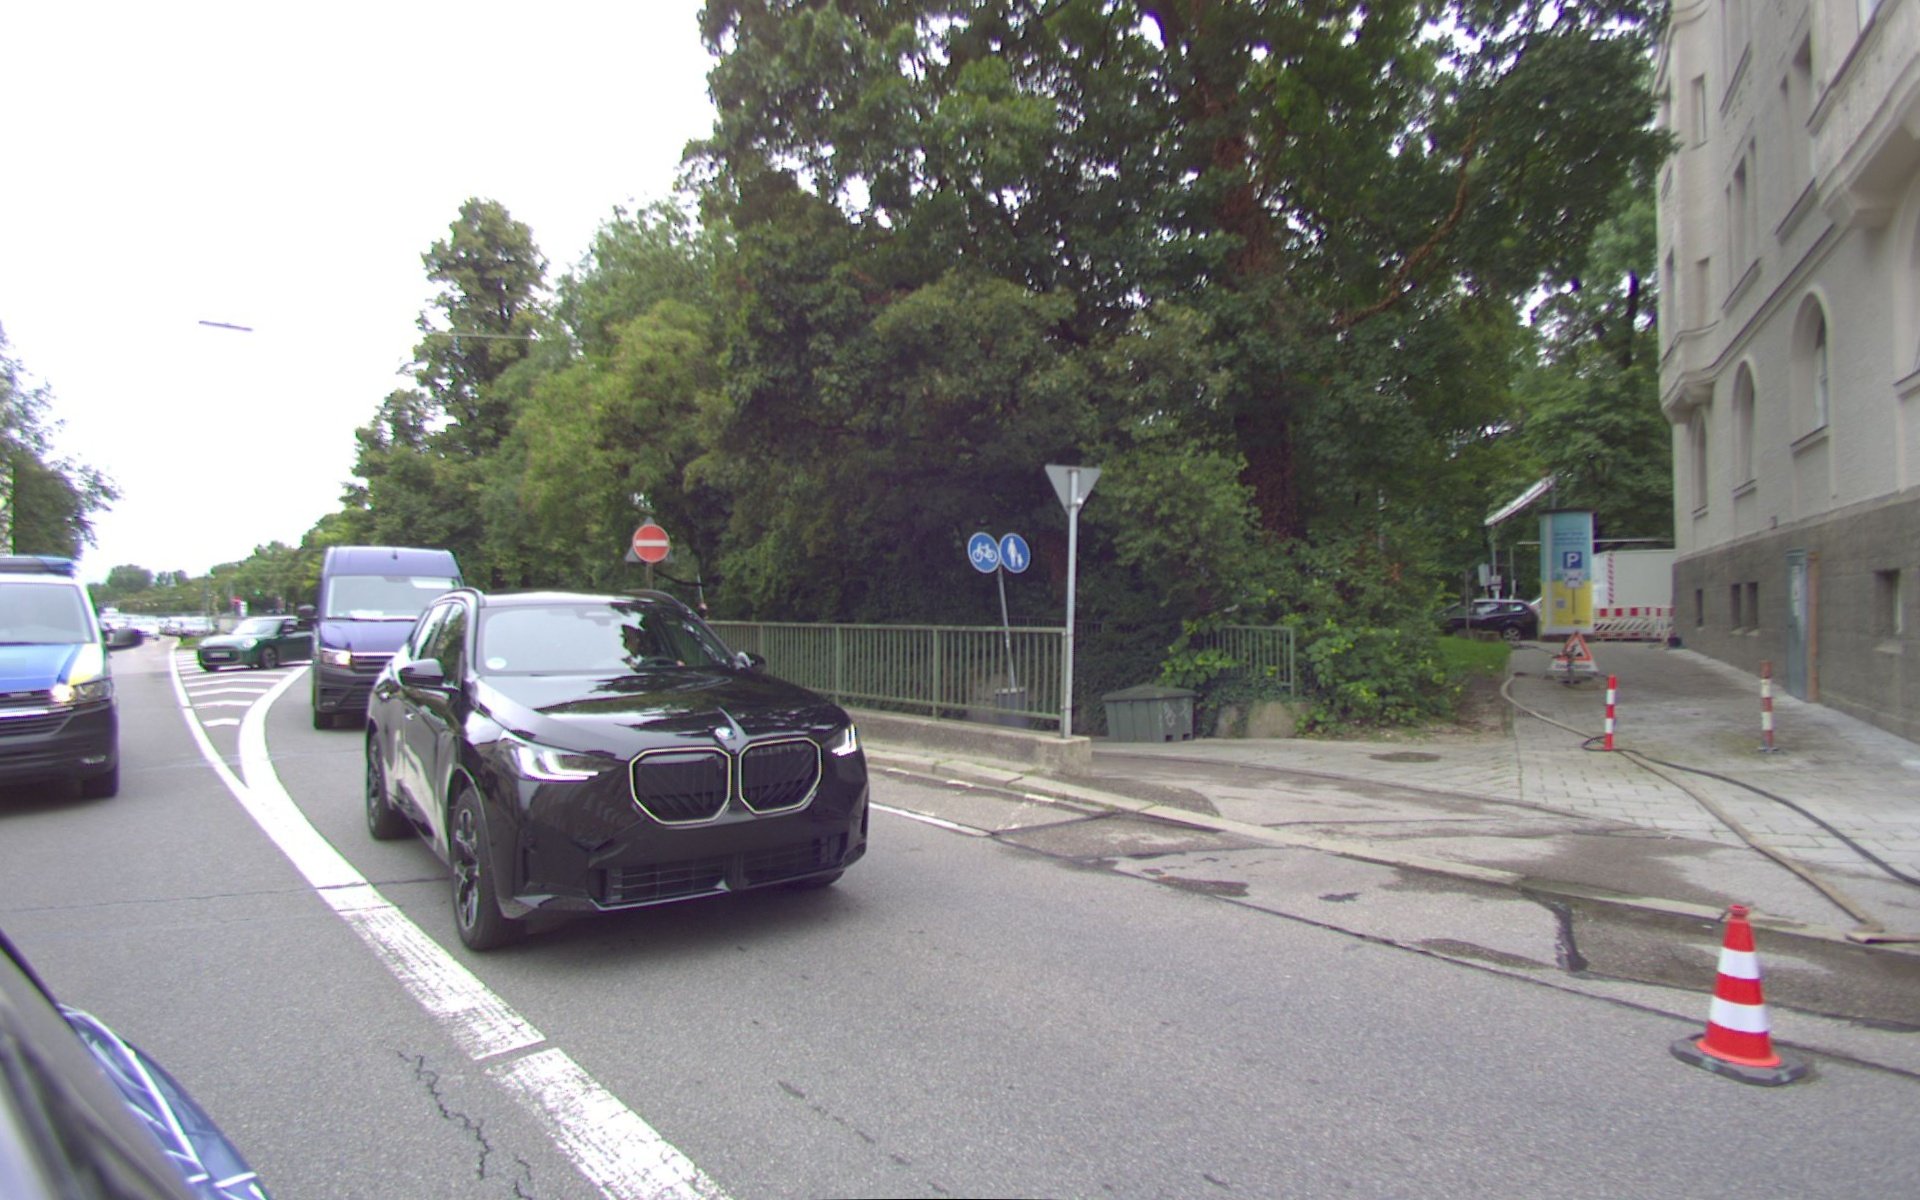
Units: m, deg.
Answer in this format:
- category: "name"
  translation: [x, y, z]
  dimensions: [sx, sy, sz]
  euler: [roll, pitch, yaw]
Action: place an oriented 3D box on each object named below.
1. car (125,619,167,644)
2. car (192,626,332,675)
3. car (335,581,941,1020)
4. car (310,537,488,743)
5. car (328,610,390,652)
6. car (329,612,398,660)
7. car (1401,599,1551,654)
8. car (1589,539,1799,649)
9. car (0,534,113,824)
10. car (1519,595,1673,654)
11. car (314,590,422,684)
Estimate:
- category: "car"
  translation: [-55.515, 2.151, 69.075]
  dimensions: [1.967, 1.608, 4.009]
  euler: [1, -2, -36]
- category: "car"
  translation: [-19.667, 1.394, 28.695]
  dimensions: [1.476, 1.223, 3.610]
  euler: [-1, 0, 1]
- category: "car"
  translation: [-2.190, 0.753, 5.919]
  dimensions: [1.892, 1.577, 4.301]
  euler: [1, -1, -40]
- category: "car"
  translation: [-8.761, 0.504, 15.518]
  dimensions: [1.973, 2.510, 6.250]
  euler: [0, 0, -32]
- category: "car"
  translation: [-27.607, 1.390, 46.558]
  dimensions: [2.278, 1.742, 5.230]
  euler: [-2, 0, -30]
- category: "car"
  translation: [-22.438, 1.317, 38.115]
  dimensions: [2.069, 1.602, 5.584]
  euler: [-2, 0, -30]
- category: "car"
  translation: [16.920, 0.861, 33.416]
  dimensions: [4.188, 1.615, 1.649]
  euler: [-2, 0, 22]
- category: "car"
  translation: [22.710, -0.128, 31.615]
  dimensions: [4.772, 3.199, 2.466]
  euler: [-1, -1, 22]
- category: "car"
  translation: [-9.034, 0.646, 9.339]
  dimensions: [1.799, 2.115, 5.642]
  euler: [-2, 0, -40]
- category: "car"
  translation: [21.986, 0.848, 35.185]
  dimensions: [4.188, 1.961, 1.834]
  euler: [-1, -1, 22]
- category: "car"
  translation: [-14.366, 0.835, 24.589]
  dimensions: [1.974, 1.951, 5.822]
  euler: [-2, 0, -30]
